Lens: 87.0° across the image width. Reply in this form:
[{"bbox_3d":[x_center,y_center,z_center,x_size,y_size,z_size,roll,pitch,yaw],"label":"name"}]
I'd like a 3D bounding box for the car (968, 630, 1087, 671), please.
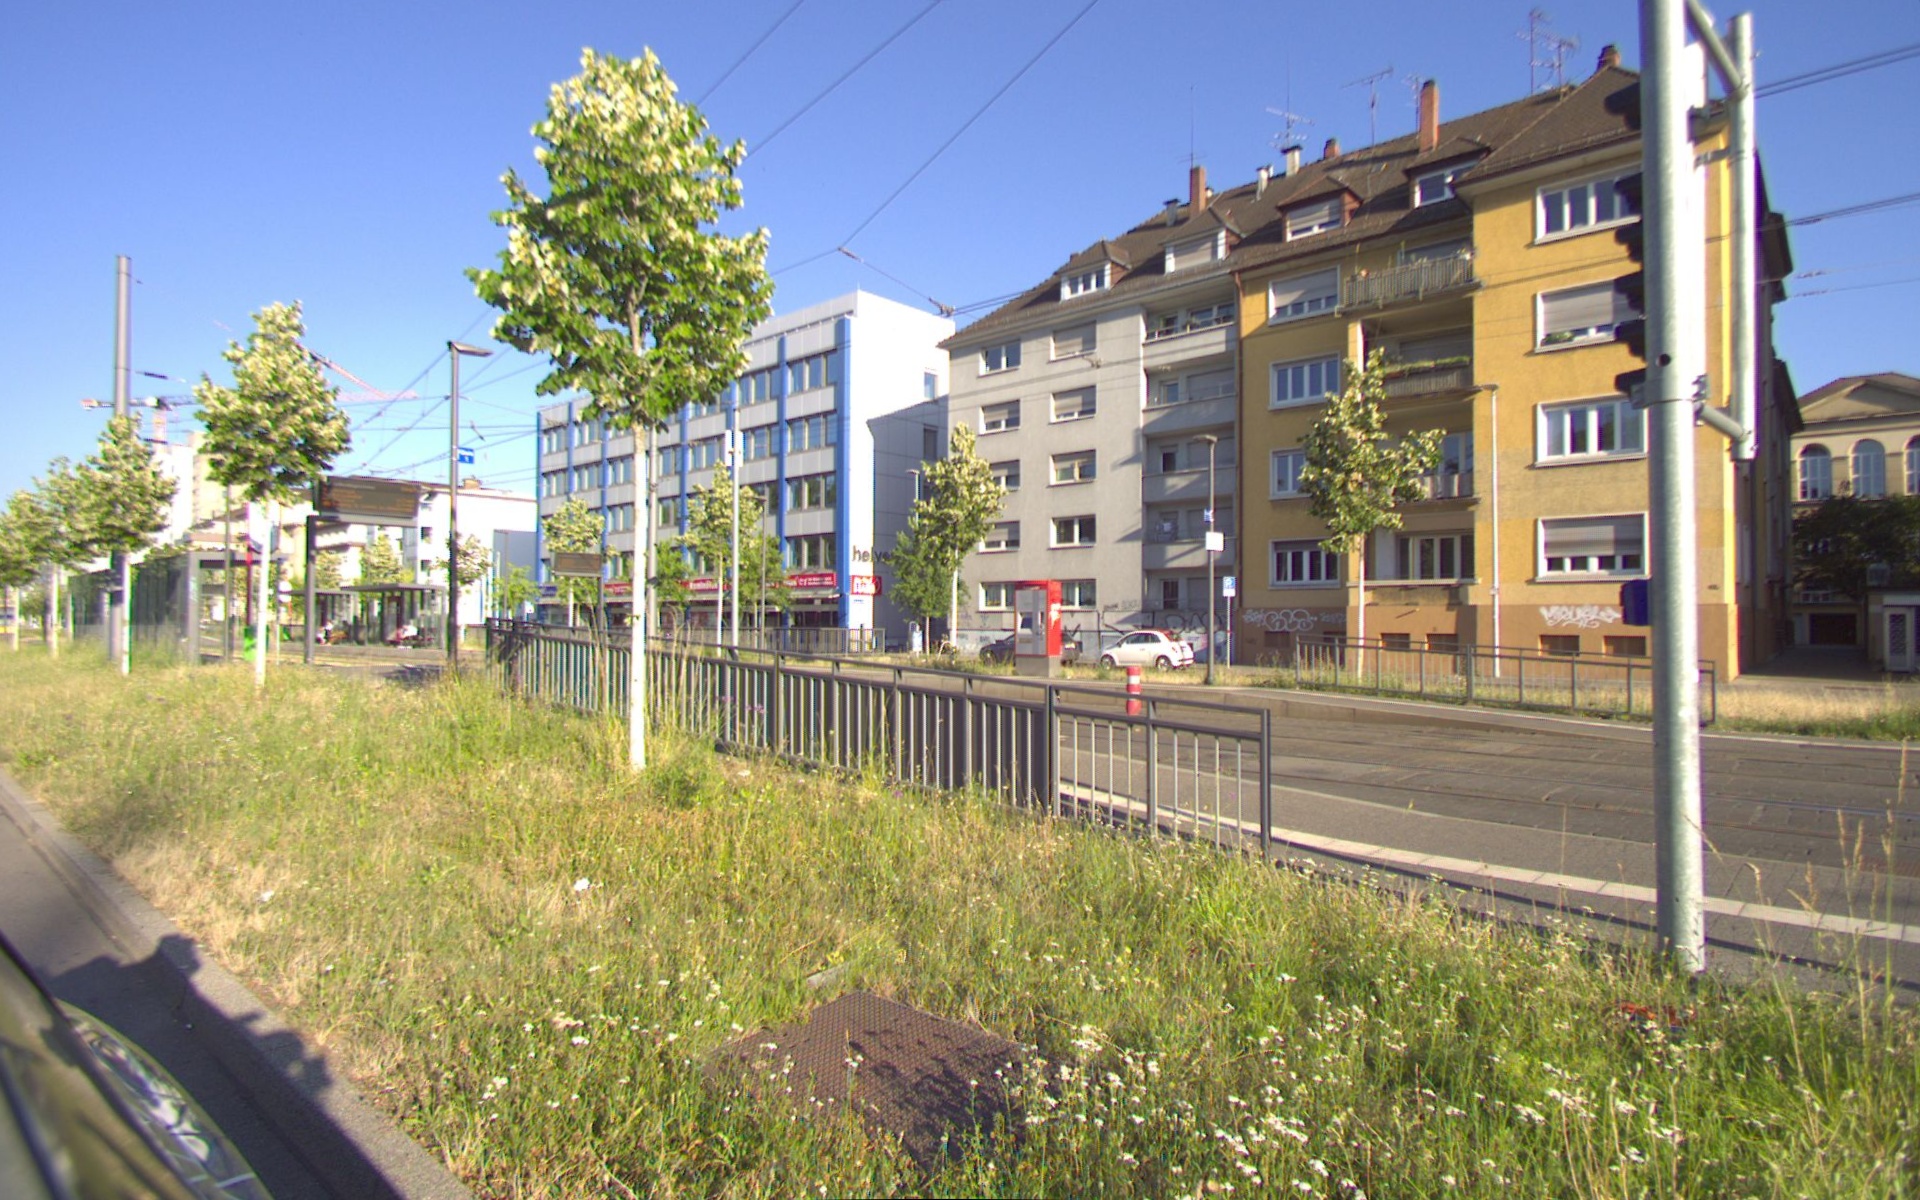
[{"bbox_3d":[2.641,1.957,40.208,4.429,1.519,1.973,-1,-2,41],"label":"car"}]

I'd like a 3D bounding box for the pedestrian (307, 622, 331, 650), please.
[{"bbox_3d":[-32.941,1.858,52.010,0.803,1.421,0.829,-2,-2,41],"label":"pedestrian"}]

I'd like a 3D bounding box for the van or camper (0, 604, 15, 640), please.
[{"bbox_3d":[-88.686,2.015,92.967,7.479,3.192,2.476,-2,-2,45],"label":"van or camper"}]

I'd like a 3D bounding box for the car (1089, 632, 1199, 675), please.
[{"bbox_3d":[6.643,1.899,36.638,3.551,1.497,1.729,-1,-2,41],"label":"car"}]

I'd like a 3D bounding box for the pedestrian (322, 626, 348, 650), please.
[{"bbox_3d":[-31.049,1.885,50.265,0.764,1.206,0.924,-1,-2,41],"label":"pedestrian"}]
